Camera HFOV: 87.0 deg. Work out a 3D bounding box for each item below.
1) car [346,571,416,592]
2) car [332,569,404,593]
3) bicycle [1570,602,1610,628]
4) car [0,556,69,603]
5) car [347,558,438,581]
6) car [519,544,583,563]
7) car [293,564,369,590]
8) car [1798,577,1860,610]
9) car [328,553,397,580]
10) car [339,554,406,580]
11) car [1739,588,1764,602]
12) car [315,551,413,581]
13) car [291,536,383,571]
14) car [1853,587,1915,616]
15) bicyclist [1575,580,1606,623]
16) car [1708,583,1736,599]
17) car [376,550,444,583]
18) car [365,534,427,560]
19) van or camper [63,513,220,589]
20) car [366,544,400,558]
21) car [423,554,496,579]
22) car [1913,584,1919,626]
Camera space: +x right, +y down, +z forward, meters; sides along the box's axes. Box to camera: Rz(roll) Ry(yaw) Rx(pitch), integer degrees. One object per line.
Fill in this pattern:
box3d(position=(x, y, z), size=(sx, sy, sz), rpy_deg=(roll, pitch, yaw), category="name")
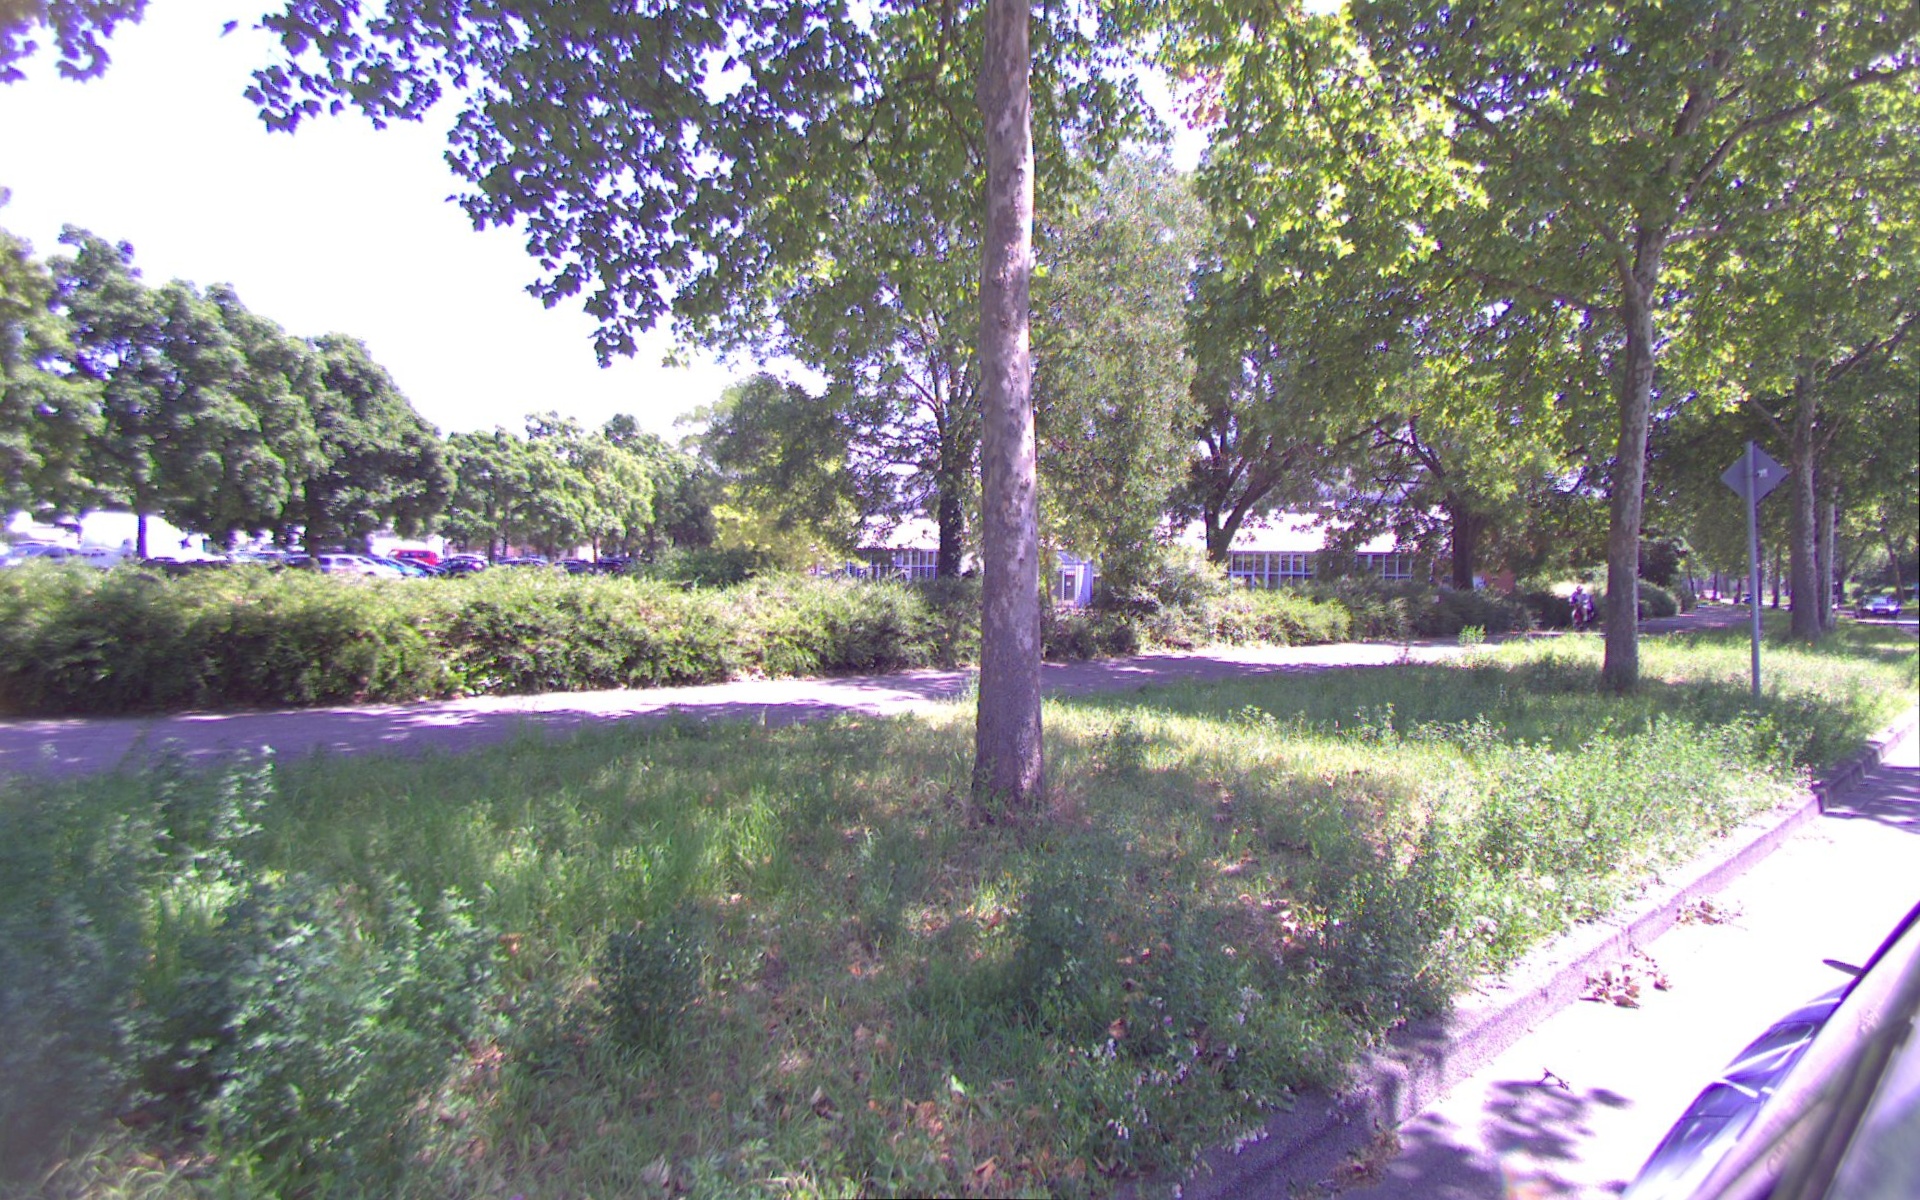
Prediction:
box3d(position=(-25.838, -0.826, 45.210), size=(2.547, 0.852, 0.955), rpy_deg=(1, 1, -8), category="car")
box3d(position=(-25.681, -0.833, 43.932), size=(2.547, 0.999, 0.955), rpy_deg=(1, 1, -8), category="car")
box3d(position=(19.936, 0.466, 32.036), size=(1.636, 0.773, 0.465), rpy_deg=(0, 1, -35), category="bicycle")
box3d(position=(-36.528, -0.789, 38.410), size=(1.919, 1.739, 4.073), rpy_deg=(1, 1, -1), category="car")
box3d(position=(-27.492, -1.464, 49.128), size=(3.494, 1.047, 1.685), rpy_deg=(1, 2, -8), category="car")
box3d(position=(-62.505, -7.049, 154.856), size=(8.647, 2.620, 3.054), rpy_deg=(1, 1, -9), category="car")
box3d(position=(-26.293, -0.954, 42.348), size=(2.547, 1.049, 0.955), rpy_deg=(1, 1, -8), category="car")
box3d(position=(73.594, -0.608, 85.838), size=(2.897, 2.687, 6.296), rpy_deg=(1, 2, 31), category="car")
box3d(position=(-27.508, -1.539, 46.628), size=(2.547, 1.141, 1.008), rpy_deg=(1, 1, -8), category="car")
box3d(position=(-27.645, -1.543, 47.631), size=(2.547, 1.141, 0.955), rpy_deg=(1, 1, -8), category="car")
box3d(position=(84.701, -0.523, 108.297), size=(1.496, 1.404, 3.394), rpy_deg=(2, 2, 29), category="car")
box3d(position=(-27.368, -1.561, 46.550), size=(3.501, 1.241, 1.623), rpy_deg=(2, 1, -8), category="car")
box3d(position=(-38.792, -2.904, 63.149), size=(4.334, 2.039, 2.249), rpy_deg=(1, 1, -5), category="car")
box3d(position=(59.842, 0.074, 65.599), size=(1.981, 1.816, 3.961), rpy_deg=(1, 1, 28), category="car")
box3d(position=(19.992, 0.041, 32.081), size=(0.653, 1.355, 0.601), rpy_deg=(0, 1, -35), category="bicyclist")
box3d(position=(93.234, -1.118, 123.888), size=(1.981, 1.860, 3.963), rpy_deg=(2, 1, 27), category="car")
box3d(position=(-40.917, -2.505, 75.312), size=(3.920, 2.040, 1.968), rpy_deg=(-4, -2, -6), category="car")
box3d(position=(-76.075, -7.158, 136.686), size=(7.056, 3.221, 3.197), rpy_deg=(0, 1, -24), category="car")
box3d(position=(-32.482, -1.916, 40.397), size=(2.161, 2.785, 5.131), rpy_deg=(1, 2, 0), category="van or camper")
box3d(position=(-69.936, -5.924, 122.636), size=(1.433, 1.638, 3.326), rpy_deg=(2, 2, 35), category="car")
box3d(position=(-28.638, -1.911, 57.964), size=(3.357, 1.383, 1.720), rpy_deg=(1, 1, -8), category="car")
box3d(position=(43.695, 0.259, 44.123), size=(1.980, 1.905, 3.964), rpy_deg=(1, 1, 26), category="car")
